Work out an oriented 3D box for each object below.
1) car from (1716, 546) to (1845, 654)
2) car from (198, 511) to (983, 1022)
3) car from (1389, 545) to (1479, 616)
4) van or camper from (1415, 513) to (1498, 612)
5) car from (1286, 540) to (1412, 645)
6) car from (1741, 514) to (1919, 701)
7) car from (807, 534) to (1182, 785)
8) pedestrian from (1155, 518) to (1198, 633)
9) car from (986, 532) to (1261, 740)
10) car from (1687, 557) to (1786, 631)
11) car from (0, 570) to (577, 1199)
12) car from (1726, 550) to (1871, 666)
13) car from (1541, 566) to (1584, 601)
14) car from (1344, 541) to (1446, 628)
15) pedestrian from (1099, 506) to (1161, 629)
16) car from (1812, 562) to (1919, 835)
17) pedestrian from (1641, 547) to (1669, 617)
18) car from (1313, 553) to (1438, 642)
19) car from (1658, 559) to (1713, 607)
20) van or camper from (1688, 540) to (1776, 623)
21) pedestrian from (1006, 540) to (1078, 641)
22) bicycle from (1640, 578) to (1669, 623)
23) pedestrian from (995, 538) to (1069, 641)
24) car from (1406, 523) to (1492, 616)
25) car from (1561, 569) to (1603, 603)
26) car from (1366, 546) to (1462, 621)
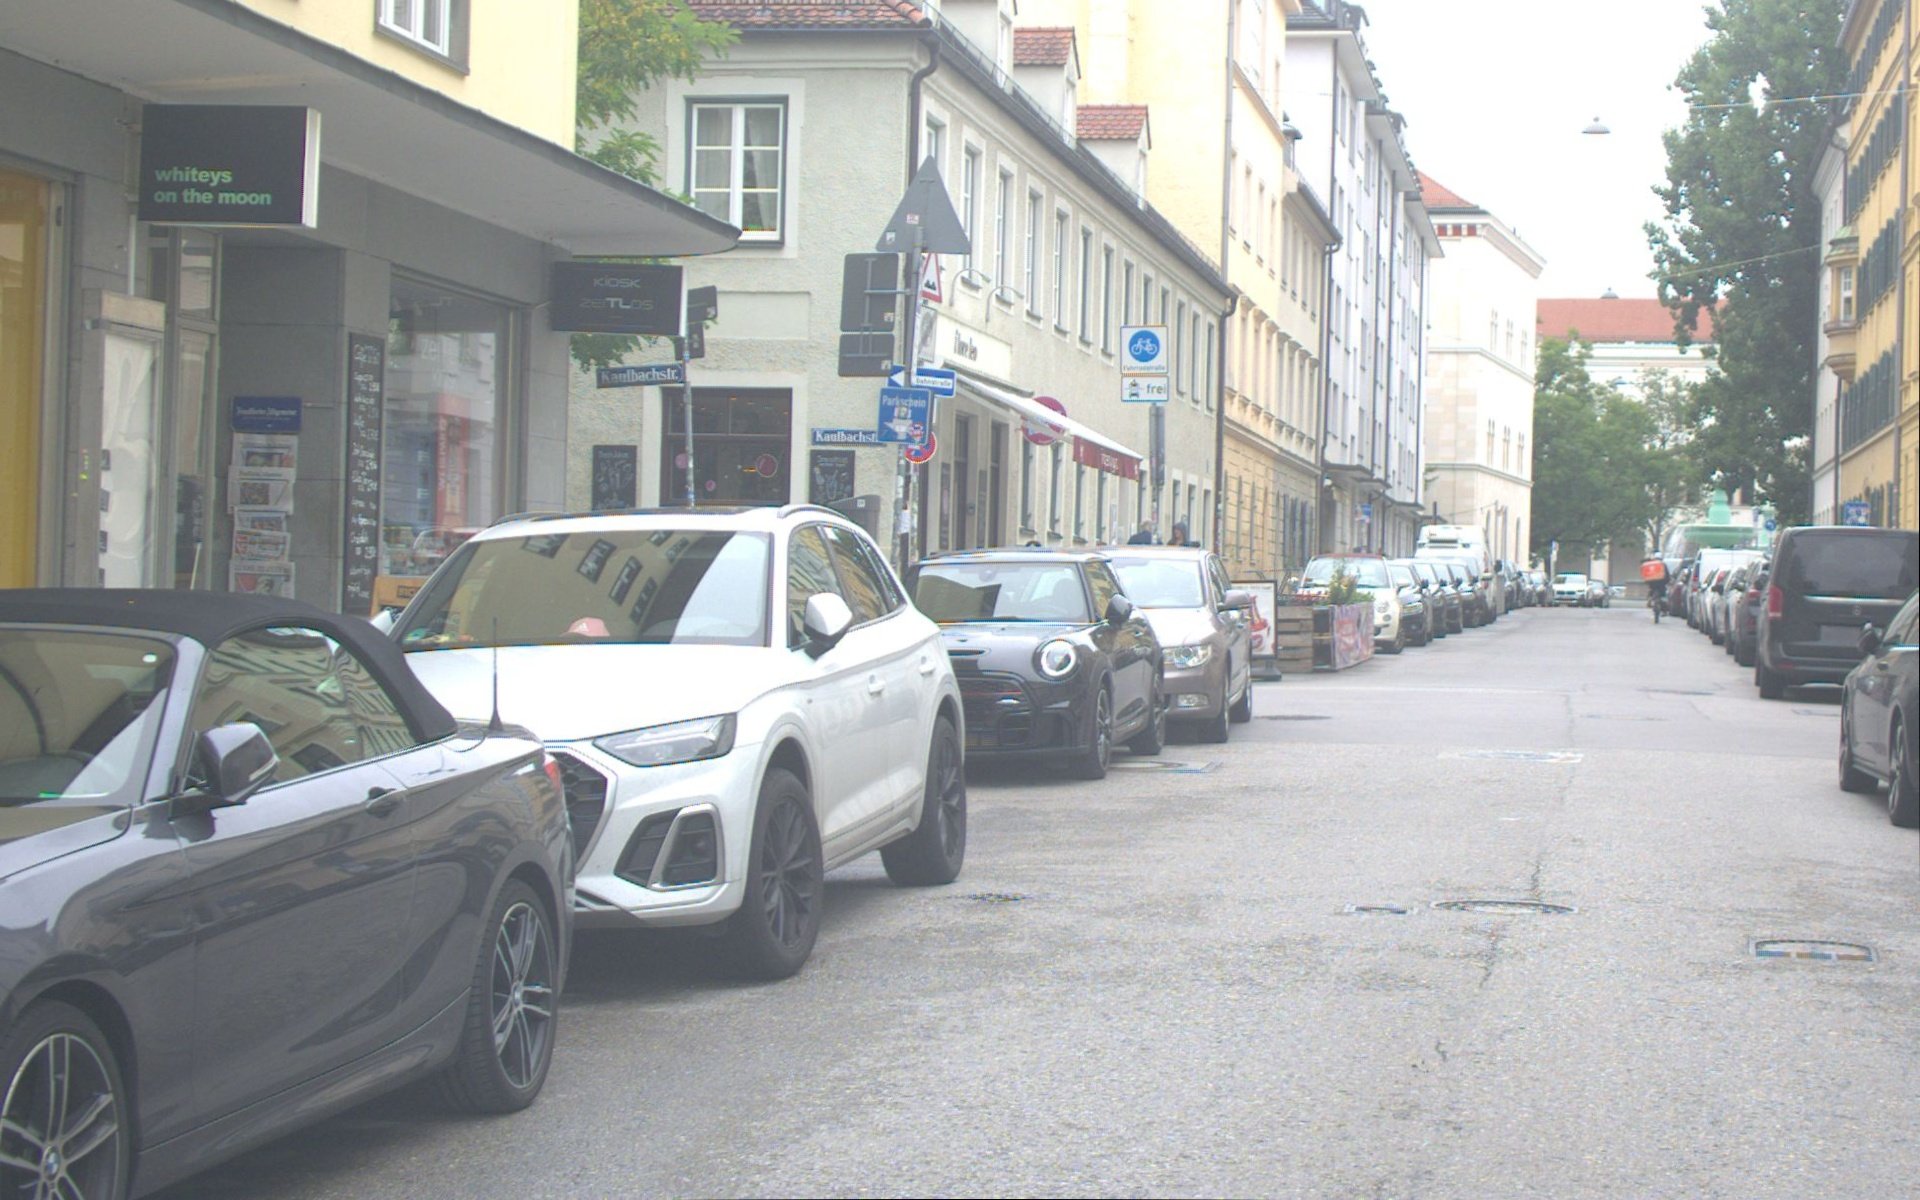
[{"bbox_3d":[12.933,-0.012,54.393,1.744,1.578,4.464,2,1,11],"label":"car"},{"bbox_3d":[-1.191,0.470,13.174,1.803,1.578,4.336,0,2,11],"label":"car"},{"bbox_3d":[10.117,-0.421,73.205,1.755,1.404,4.101,2,1,9],"label":"car"},{"bbox_3d":[12.080,-0.902,83.393,1.755,2.273,5.271,2,1,10],"label":"van or camper"},{"bbox_3d":[5.971,-0.131,52.519,1.755,1.470,3.713,3,1,8],"label":"car"},{"bbox_3d":[9.751,0.054,38.114,1.999,1.858,5.250,3,1,12],"label":"car"},{"bbox_3d":[0.322,0.319,22.429,1.680,1.466,4.095,1,1,12],"label":"car"},{"bbox_3d":[3.419,-0.379,54.277,0.529,1.776,0.877,2,-1,11],"label":"pedestrian"},{"bbox_3d":[1.376,0.220,27.006,1.679,1.466,4.949,1,1,8],"label":"car"},{"bbox_3d":[16.425,-0.139,72.863,1.709,1.449,4.095,2,1,9],"label":"car"},{"bbox_3d":[-2.317,0.662,7.803,1.746,1.406,4.096,0,1,11],"label":"car"},{"bbox_3d":[11.879,0.100,48.913,1.755,1.516,4.272,2,1,11],"label":"car"},{"bbox_3d":[27.680,-0.772,157.972,1.707,1.576,3.860,1,0,13],"label":"car"},{"bbox_3d":[8.027,-0.291,63.207,1.755,1.491,4.199,2,1,8],"label":"car"},{"bbox_3d":[2.673,-0.503,54.052,0.823,1.891,0.827,2,-1,10],"label":"pedestrian"},{"bbox_3d":[6.194,0.561,20.493,1.676,1.420,4.202,4,2,9],"label":"car"},{"bbox_3d":[17.294,-0.450,85.518,0.642,1.708,0.842,2,-1,12],"label":"pedestrian"},{"bbox_3d":[6.990,-0.075,57.529,1.799,1.334,4.683,2,1,10],"label":"car"},{"bbox_3d":[25.803,-0.600,122.396,1.813,1.609,4.153,2,0,11],"label":"car"},{"bbox_3d":[18.454,-0.456,82.355,1.834,1.865,5.076,2,1,11],"label":"van or camper"},{"bbox_3d":[1.067,-0.121,44.636,0.803,1.285,0.693,2,-1,11],"label":"pedestrian"},{"bbox_3d":[17.274,0.016,85.474,0.676,1.091,1.759,2,-1,12],"label":"bicycle"},{"bbox_3d":[0.922,-0.126,43.879,0.803,1.285,0.693,2,-1,11],"label":"pedestrian"},{"bbox_3d":[11.074,-0.700,78.034,1.755,1.988,4.624,2,1,7],"label":"car"},{"bbox_3d":[29.653,-0.669,163.832,1.707,1.576,3.860,1,0,13],"label":"car"},{"bbox_3d":[8.997,-0.351,68.285,1.816,1.436,4.130,1,1,7],"label":"car"}]
